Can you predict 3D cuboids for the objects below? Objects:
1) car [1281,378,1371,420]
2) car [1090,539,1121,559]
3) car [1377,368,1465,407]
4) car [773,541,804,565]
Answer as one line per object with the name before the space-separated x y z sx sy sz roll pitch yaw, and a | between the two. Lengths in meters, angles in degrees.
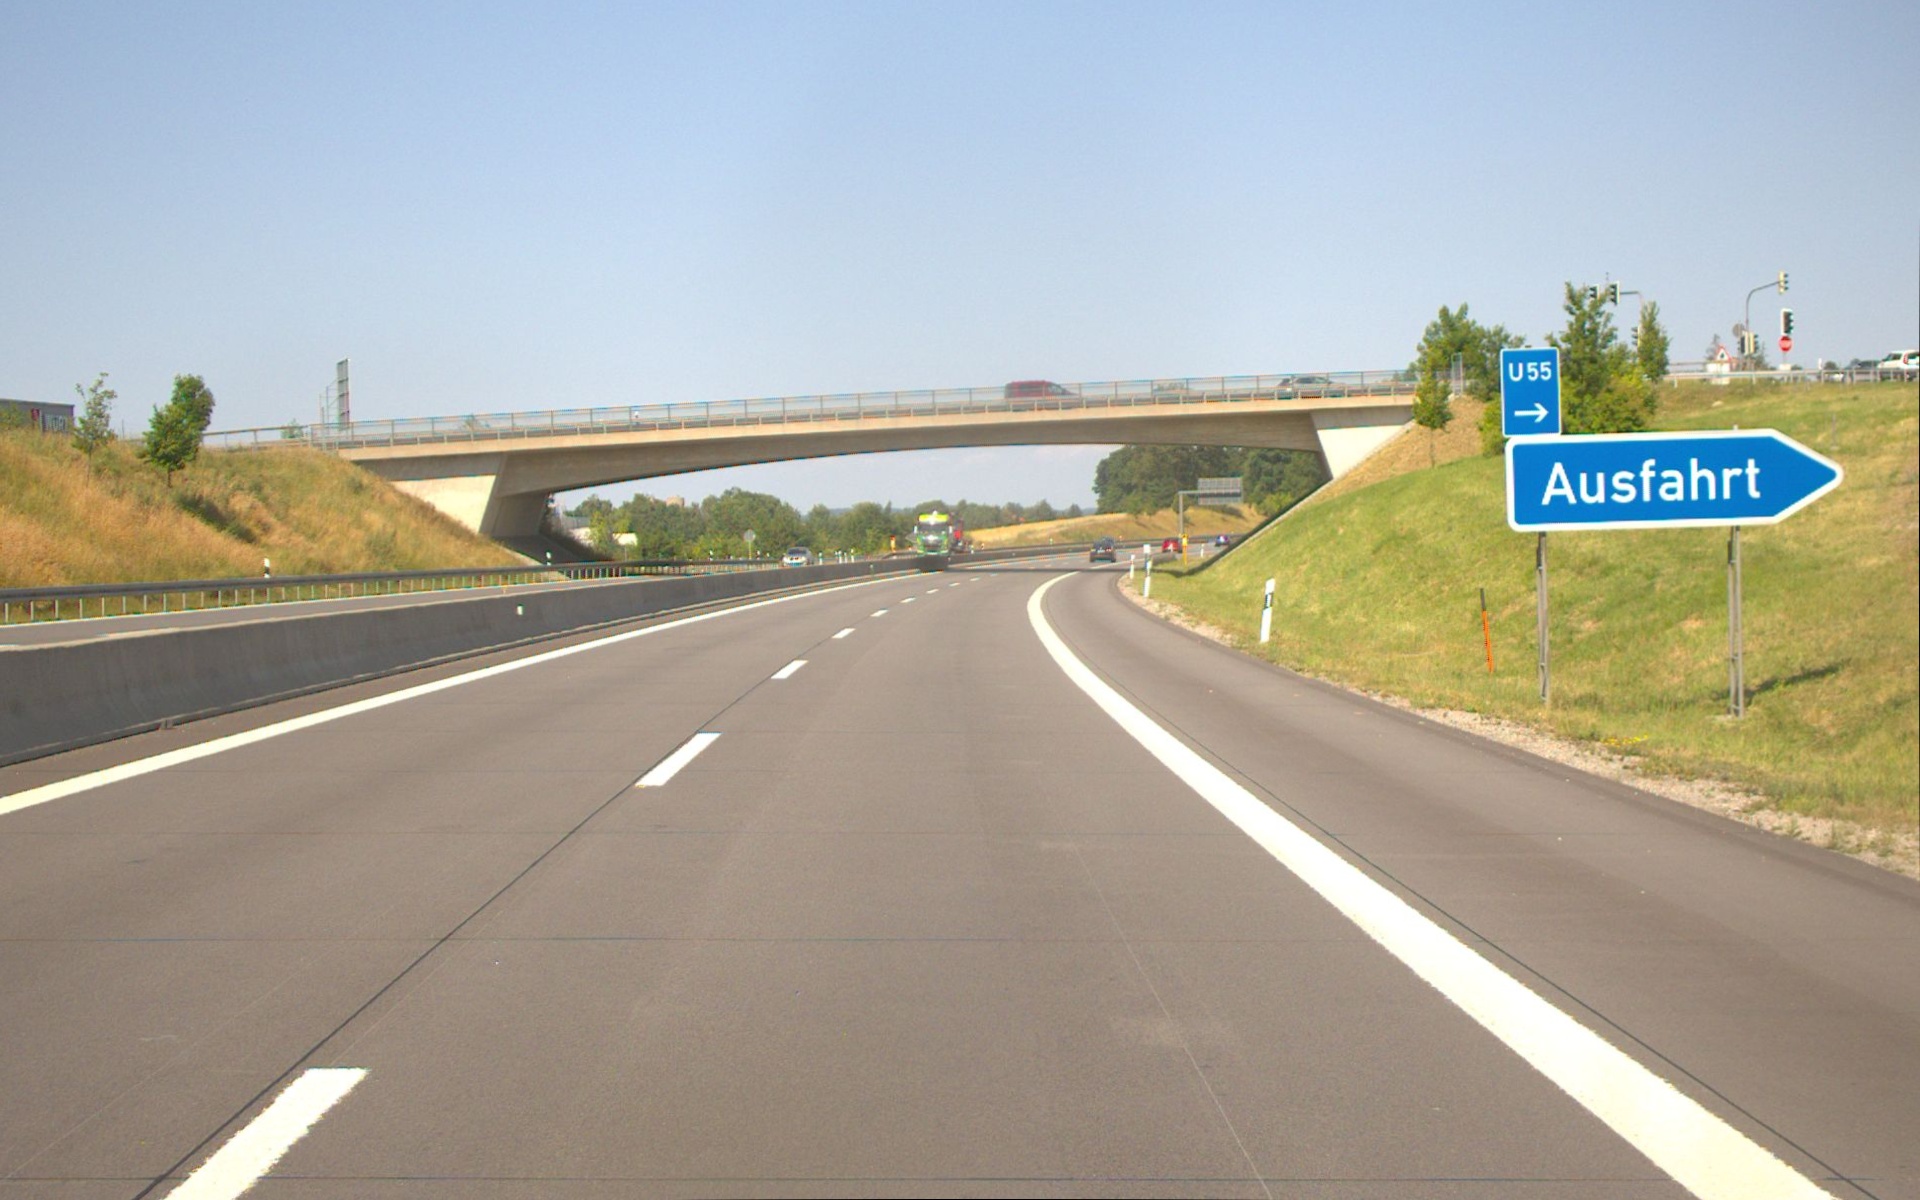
car | 19.166 -10.532 180.174 4.247 2.014 2.001 -2 2 -8
car | 10.489 -3.691 248.354 1.993 1.415 4.000 -2 1 -1
car | 24.252 -11.178 180.848 4.122 1.875 2.001 -2 2 -8
car | -11.264 -3.081 225.420 1.861 1.525 4.569 -2 1 -4
